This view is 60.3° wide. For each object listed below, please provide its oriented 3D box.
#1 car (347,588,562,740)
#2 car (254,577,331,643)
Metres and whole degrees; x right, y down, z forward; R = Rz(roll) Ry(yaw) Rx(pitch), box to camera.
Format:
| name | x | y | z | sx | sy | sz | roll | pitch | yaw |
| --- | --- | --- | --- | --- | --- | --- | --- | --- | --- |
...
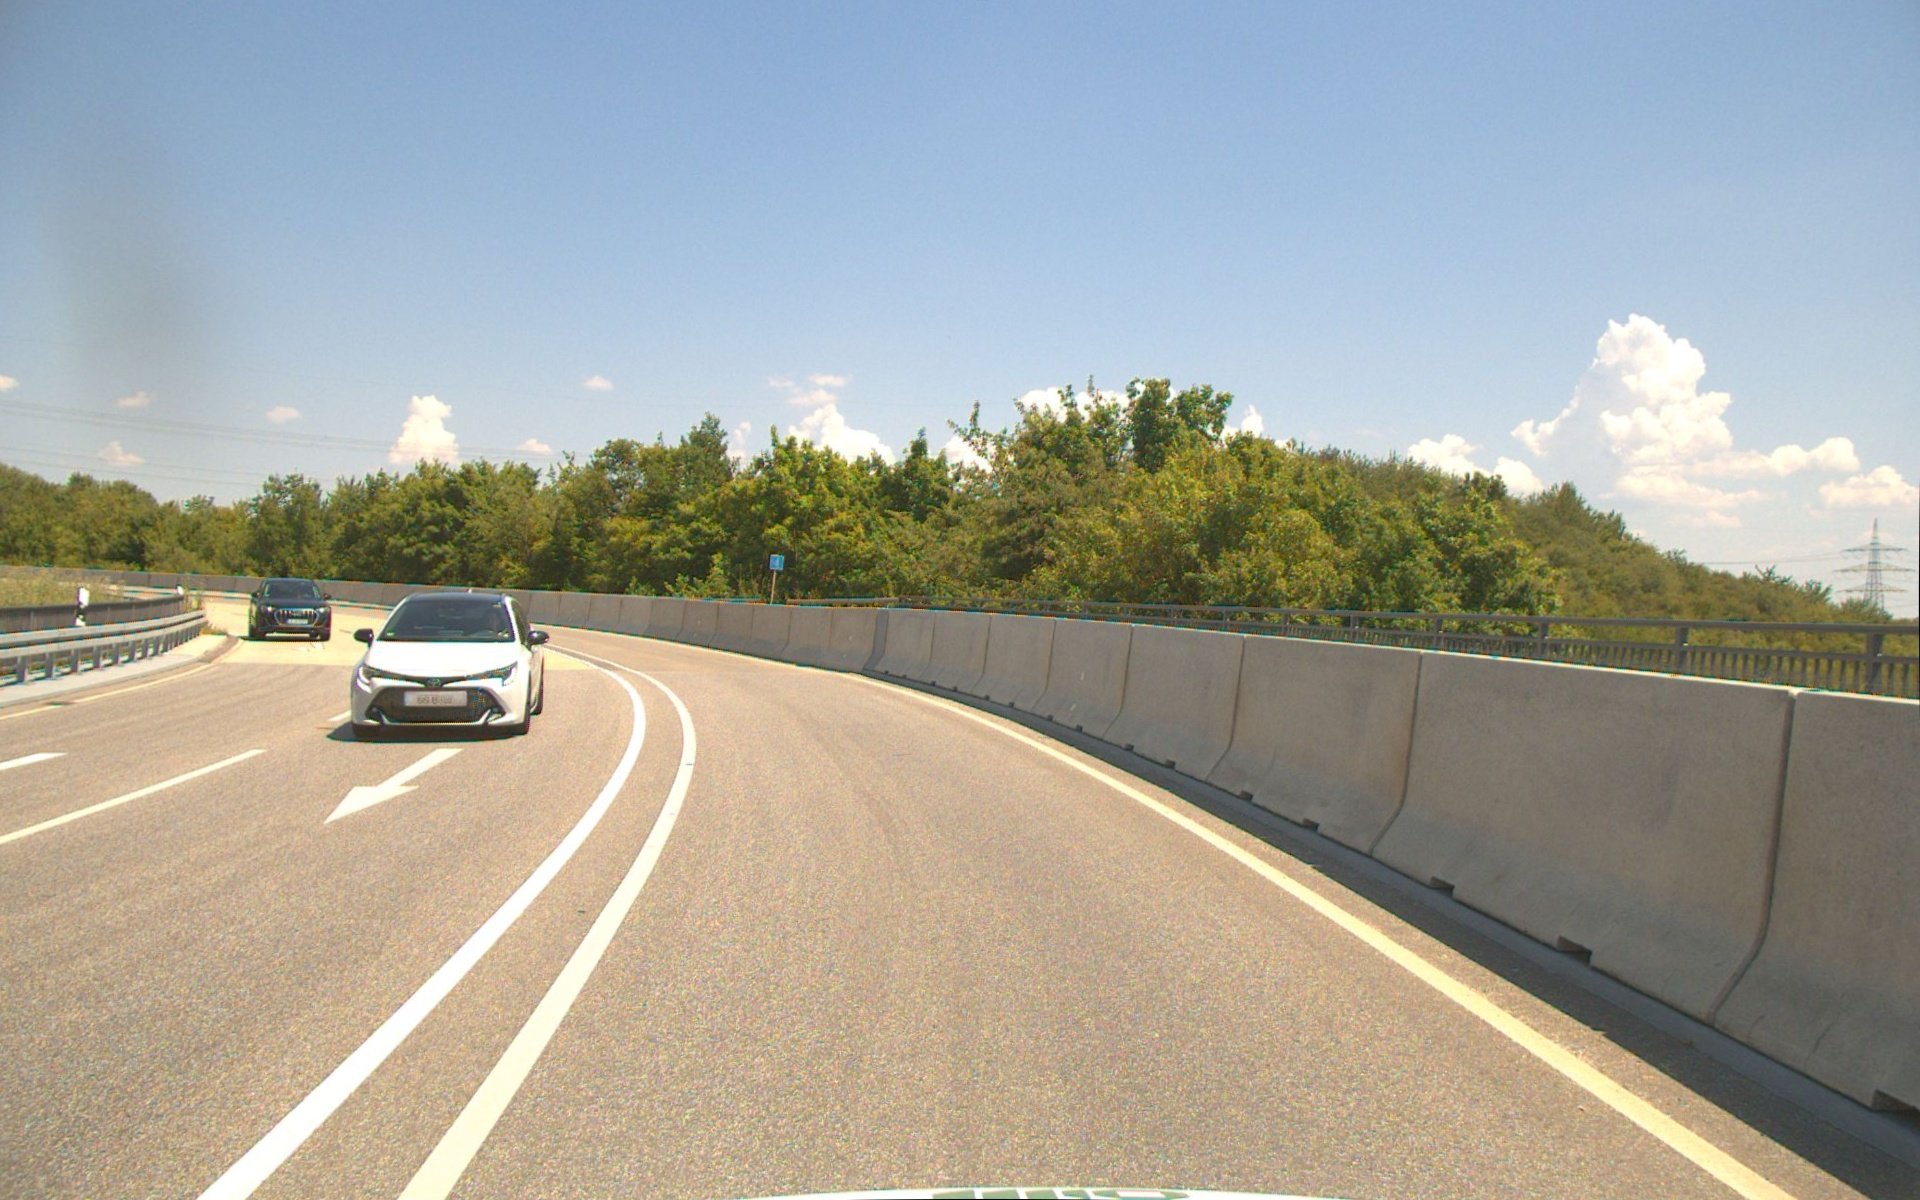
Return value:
| name | x | y | z | sx | sy | sz | roll | pitch | yaw |
| --- | --- | --- | --- | --- | --- | --- | --- | --- | --- |
| car | -5.488 | 0.632 | 18.456 | 1.710 | 1.484 | 4.357 | 0 | 0 | -9 |
| car | -17.743 | 0.234 | 43.968 | 1.790 | 1.624 | 4.417 | -1 | 1 | -22 |
